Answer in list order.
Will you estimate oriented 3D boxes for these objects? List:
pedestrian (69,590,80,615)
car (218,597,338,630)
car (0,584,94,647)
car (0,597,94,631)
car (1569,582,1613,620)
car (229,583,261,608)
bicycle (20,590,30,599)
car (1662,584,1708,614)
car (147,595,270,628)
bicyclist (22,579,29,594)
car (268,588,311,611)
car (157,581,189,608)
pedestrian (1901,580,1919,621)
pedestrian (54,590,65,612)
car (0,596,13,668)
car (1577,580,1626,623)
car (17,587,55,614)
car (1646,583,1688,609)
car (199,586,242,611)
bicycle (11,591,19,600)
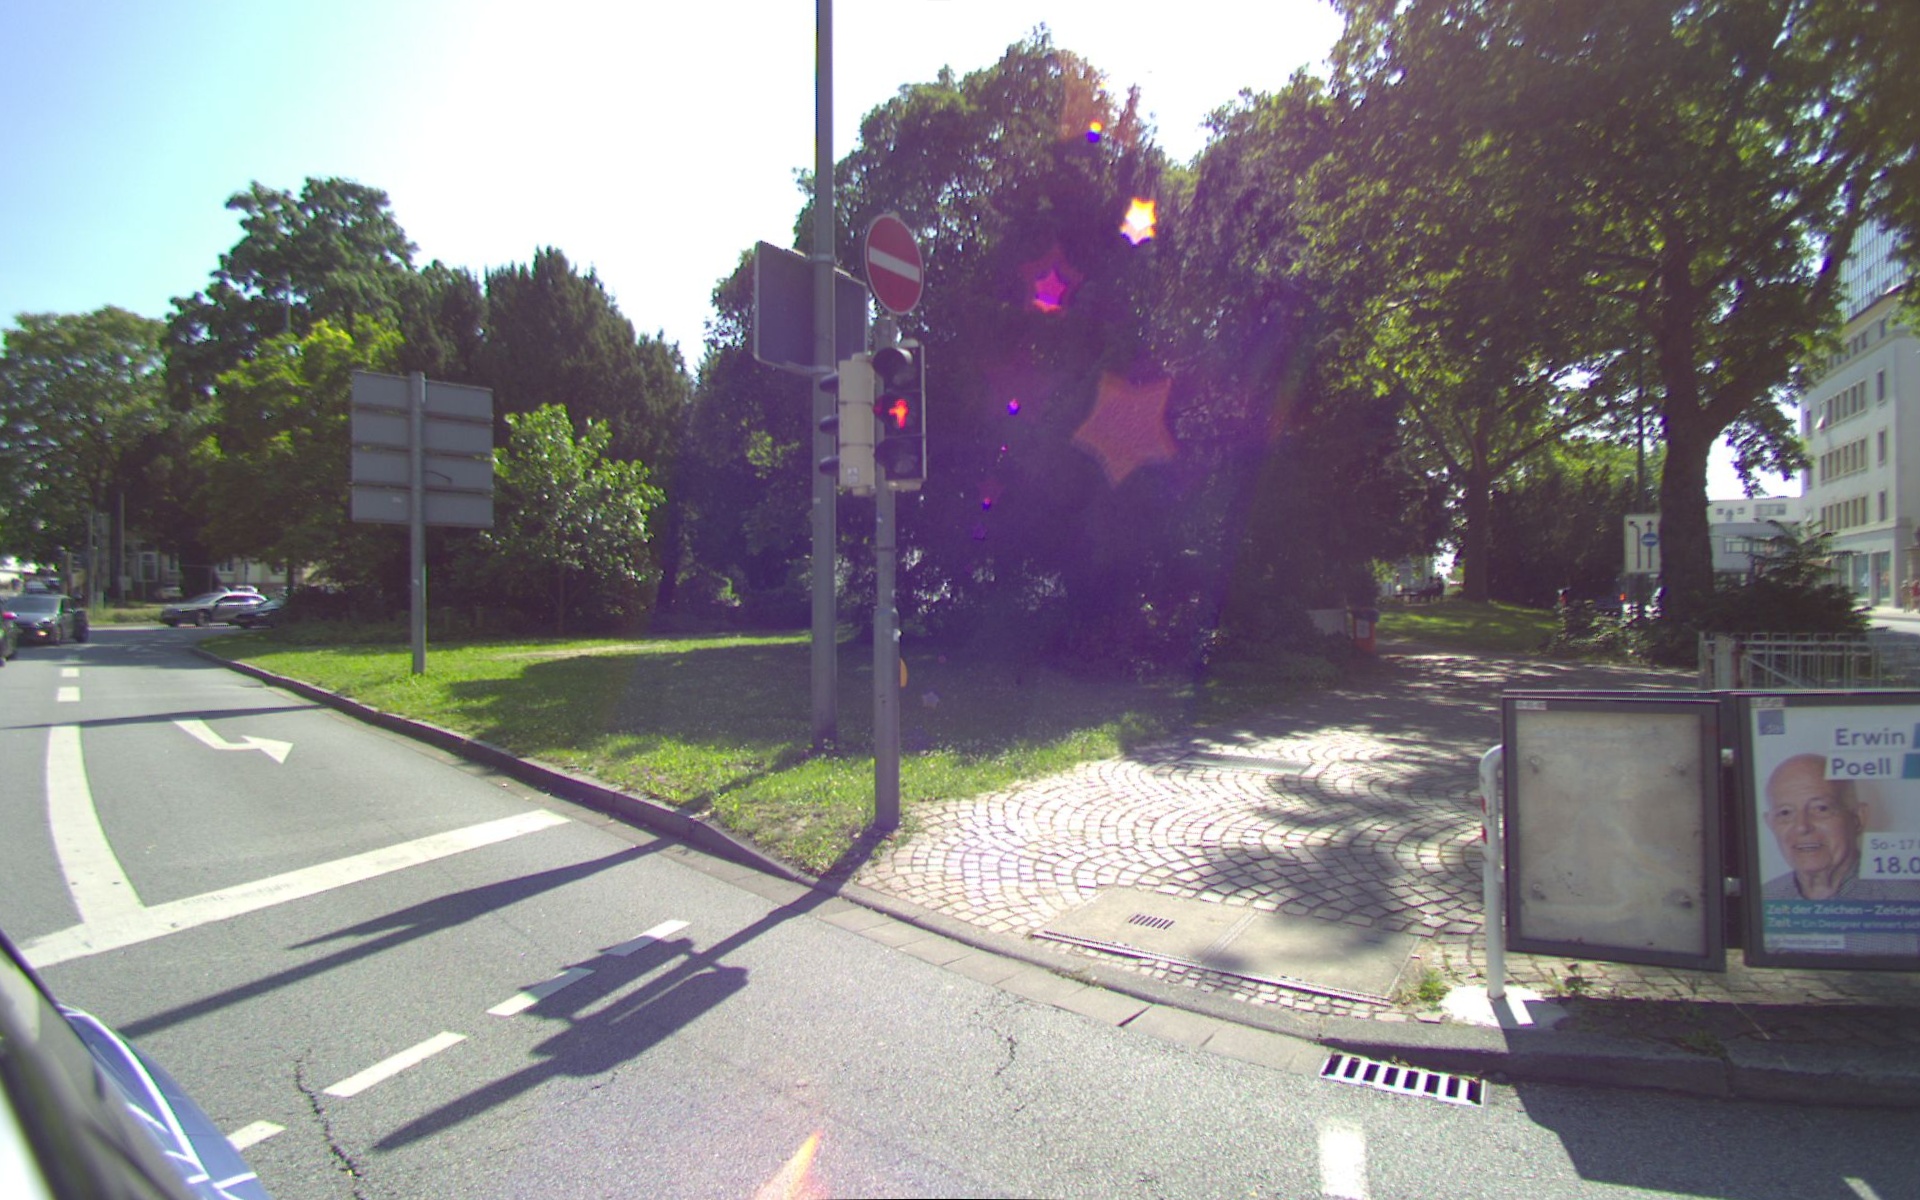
[{"bbox_3d":[-62.582,0.188,71.526,0.594,1.718,0.605,0,0,-45],"label":"pedestrian"},{"bbox_3d":[-31.190,0.590,46.444,1.922,1.440,4.533,0,0,11],"label":"car"},{"bbox_3d":[-27.393,0.424,29.818,1.858,1.696,4.155,2,-1,-27],"label":"car"},{"bbox_3d":[-44.958,0.651,49.038,1.684,1.566,4.359,0,0,41],"label":"car"},{"bbox_3d":[36.619,0.055,58.785,1.927,2.096,4.018,-1,0,29],"label":"car"},{"bbox_3d":[-57.698,-0.356,81.621,1.823,2.029,4.007,0,0,-40],"label":"car"},{"bbox_3d":[-124.392,-0.676,134.679,0.557,1.170,1.905,0,0,-30],"label":"bicycle"},{"bbox_3d":[45.177,-0.071,63.137,1.843,1.748,4.018,-2,0,29],"label":"car"},{"bbox_3d":[-34.951,0.525,47.226,1.922,1.440,4.533,0,0,11],"label":"car"},{"bbox_3d":[-124.361,-1.765,134.659,0.564,2.029,0.910,0,0,-30],"label":"bicyclist"},{"bbox_3d":[-48.887,-0.040,73.743,4.001,1.674,1.825,0,0,44],"label":"car"},{"bbox_3d":[-60.106,-0.409,77.283,1.823,2.029,4.007,0,0,-40],"label":"car"},{"bbox_3d":[48.182,0.020,51.200,0.695,2.029,0.825,1,0,35],"label":"pedestrian"},{"bbox_3d":[-70.295,0.061,78.983,0.593,1.718,0.605,0,0,-43],"label":"pedestrian"},{"bbox_3d":[-21.375,0.660,21.447,1.784,1.462,3.959,1,-2,-42],"label":"car"},{"bbox_3d":[34.390,0.059,54.311,1.927,2.184,4.018,-2,0,29],"label":"car"},{"bbox_3d":[-65.851,0.012,72.123,1.824,1.801,4.004,3,-2,-44],"label":"car"},{"bbox_3d":[48.432,-0.244,69.421,1.927,1.712,4.018,0,0,29],"label":"car"},{"bbox_3d":[-52.013,-0.104,71.161,4.001,1.674,1.825,0,0,44],"label":"car"},{"bbox_3d":[-114.709,-0.526,122.898,0.558,1.170,1.903,0,0,-38],"label":"bicycle"}]
